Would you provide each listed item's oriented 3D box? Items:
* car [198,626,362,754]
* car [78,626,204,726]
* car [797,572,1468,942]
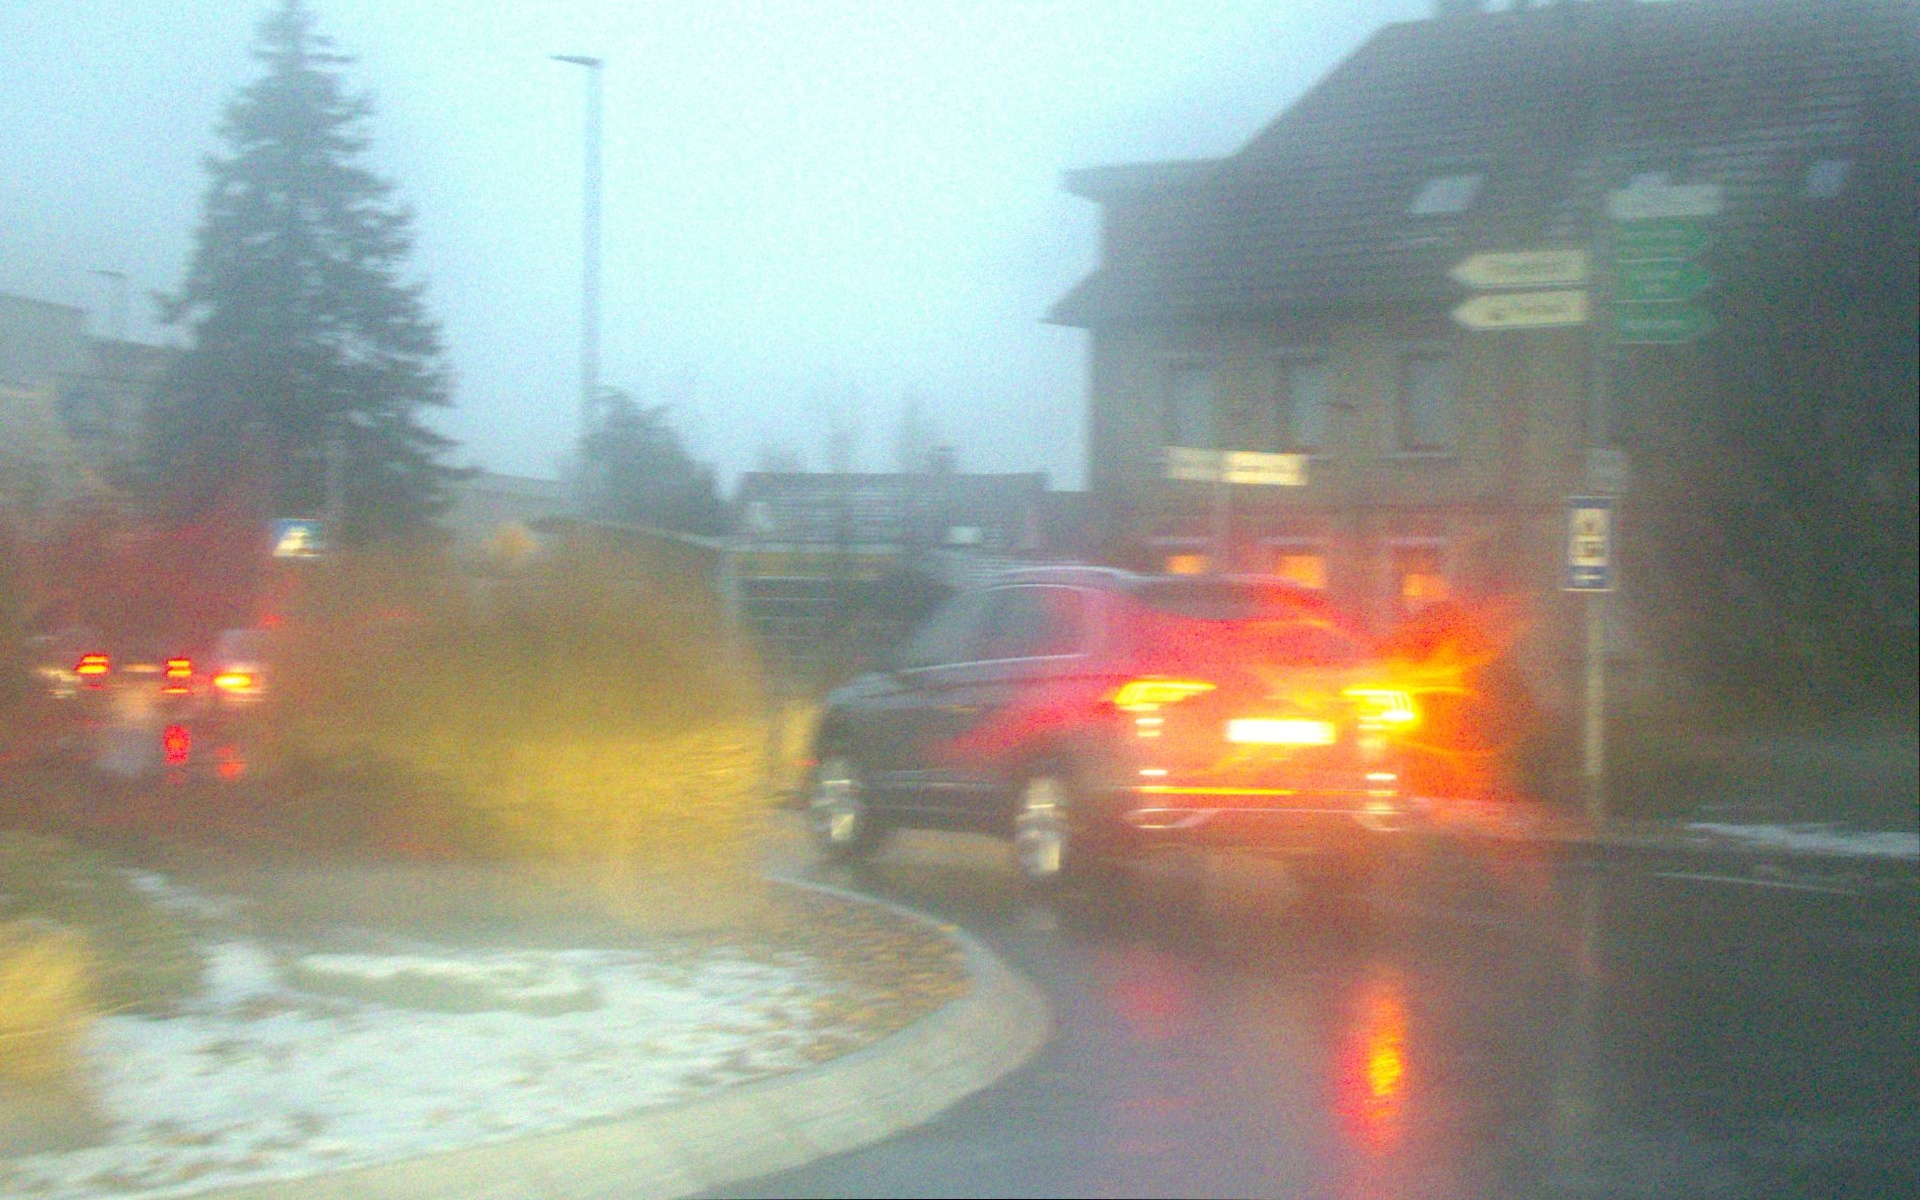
[{"bbox_3d":[-9.081,1.196,45.658,1.882,1.609,4.572,1,-2,-14],"label":"car"},{"bbox_3d":[-13.244,1.238,55.485,1.882,1.543,4.572,1,-2,-14],"label":"car"},{"bbox_3d":[0.772,0.734,18.181,1.944,1.712,4.001,1,0,-23],"label":"car"}]
